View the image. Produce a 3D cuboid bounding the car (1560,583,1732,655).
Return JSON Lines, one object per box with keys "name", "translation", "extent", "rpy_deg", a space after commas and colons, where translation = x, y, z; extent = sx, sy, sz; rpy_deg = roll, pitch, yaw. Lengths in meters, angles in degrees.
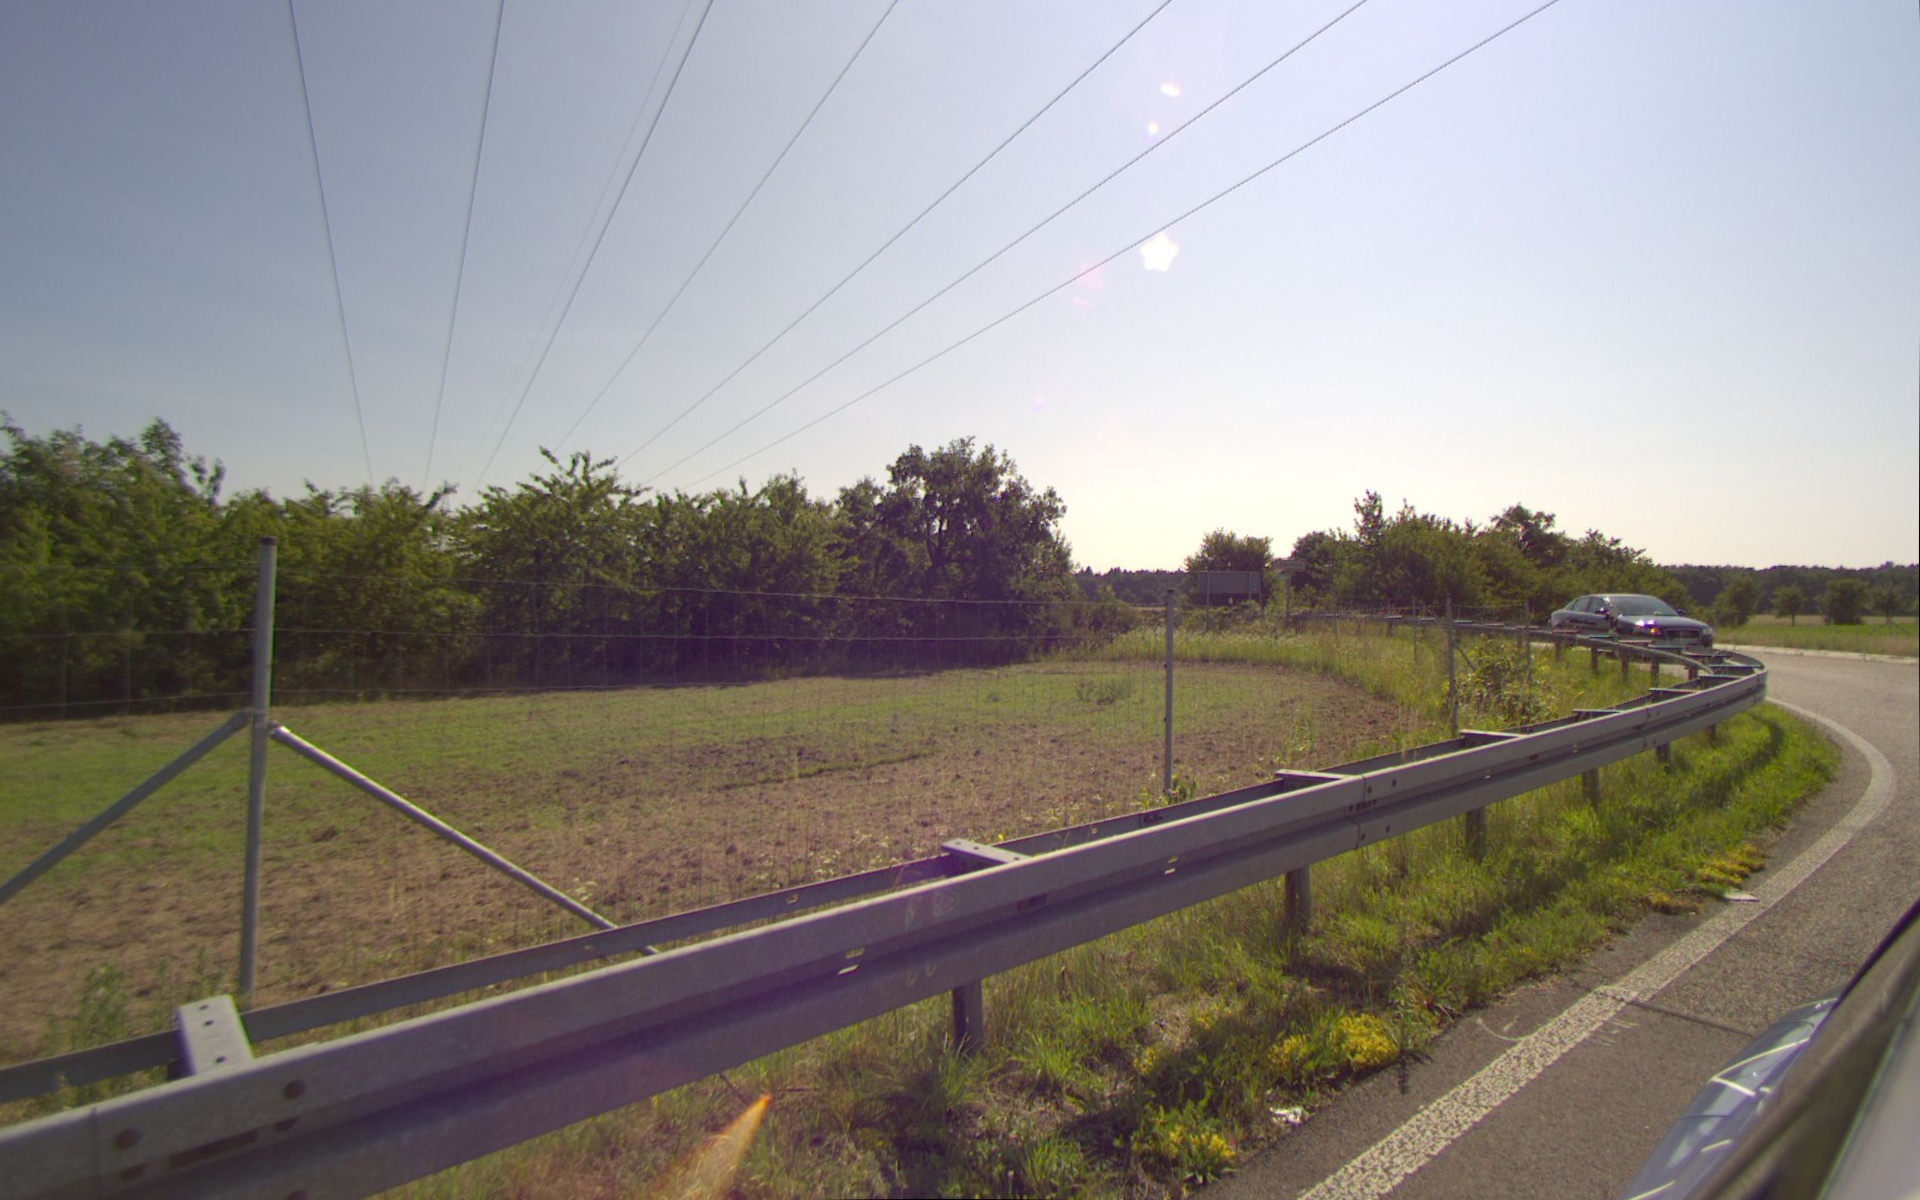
{"name": "car", "translation": [15.348, 0.396, 22.909], "extent": [1.859, 1.475, 4.058], "rpy_deg": [-1, 0, 14]}
